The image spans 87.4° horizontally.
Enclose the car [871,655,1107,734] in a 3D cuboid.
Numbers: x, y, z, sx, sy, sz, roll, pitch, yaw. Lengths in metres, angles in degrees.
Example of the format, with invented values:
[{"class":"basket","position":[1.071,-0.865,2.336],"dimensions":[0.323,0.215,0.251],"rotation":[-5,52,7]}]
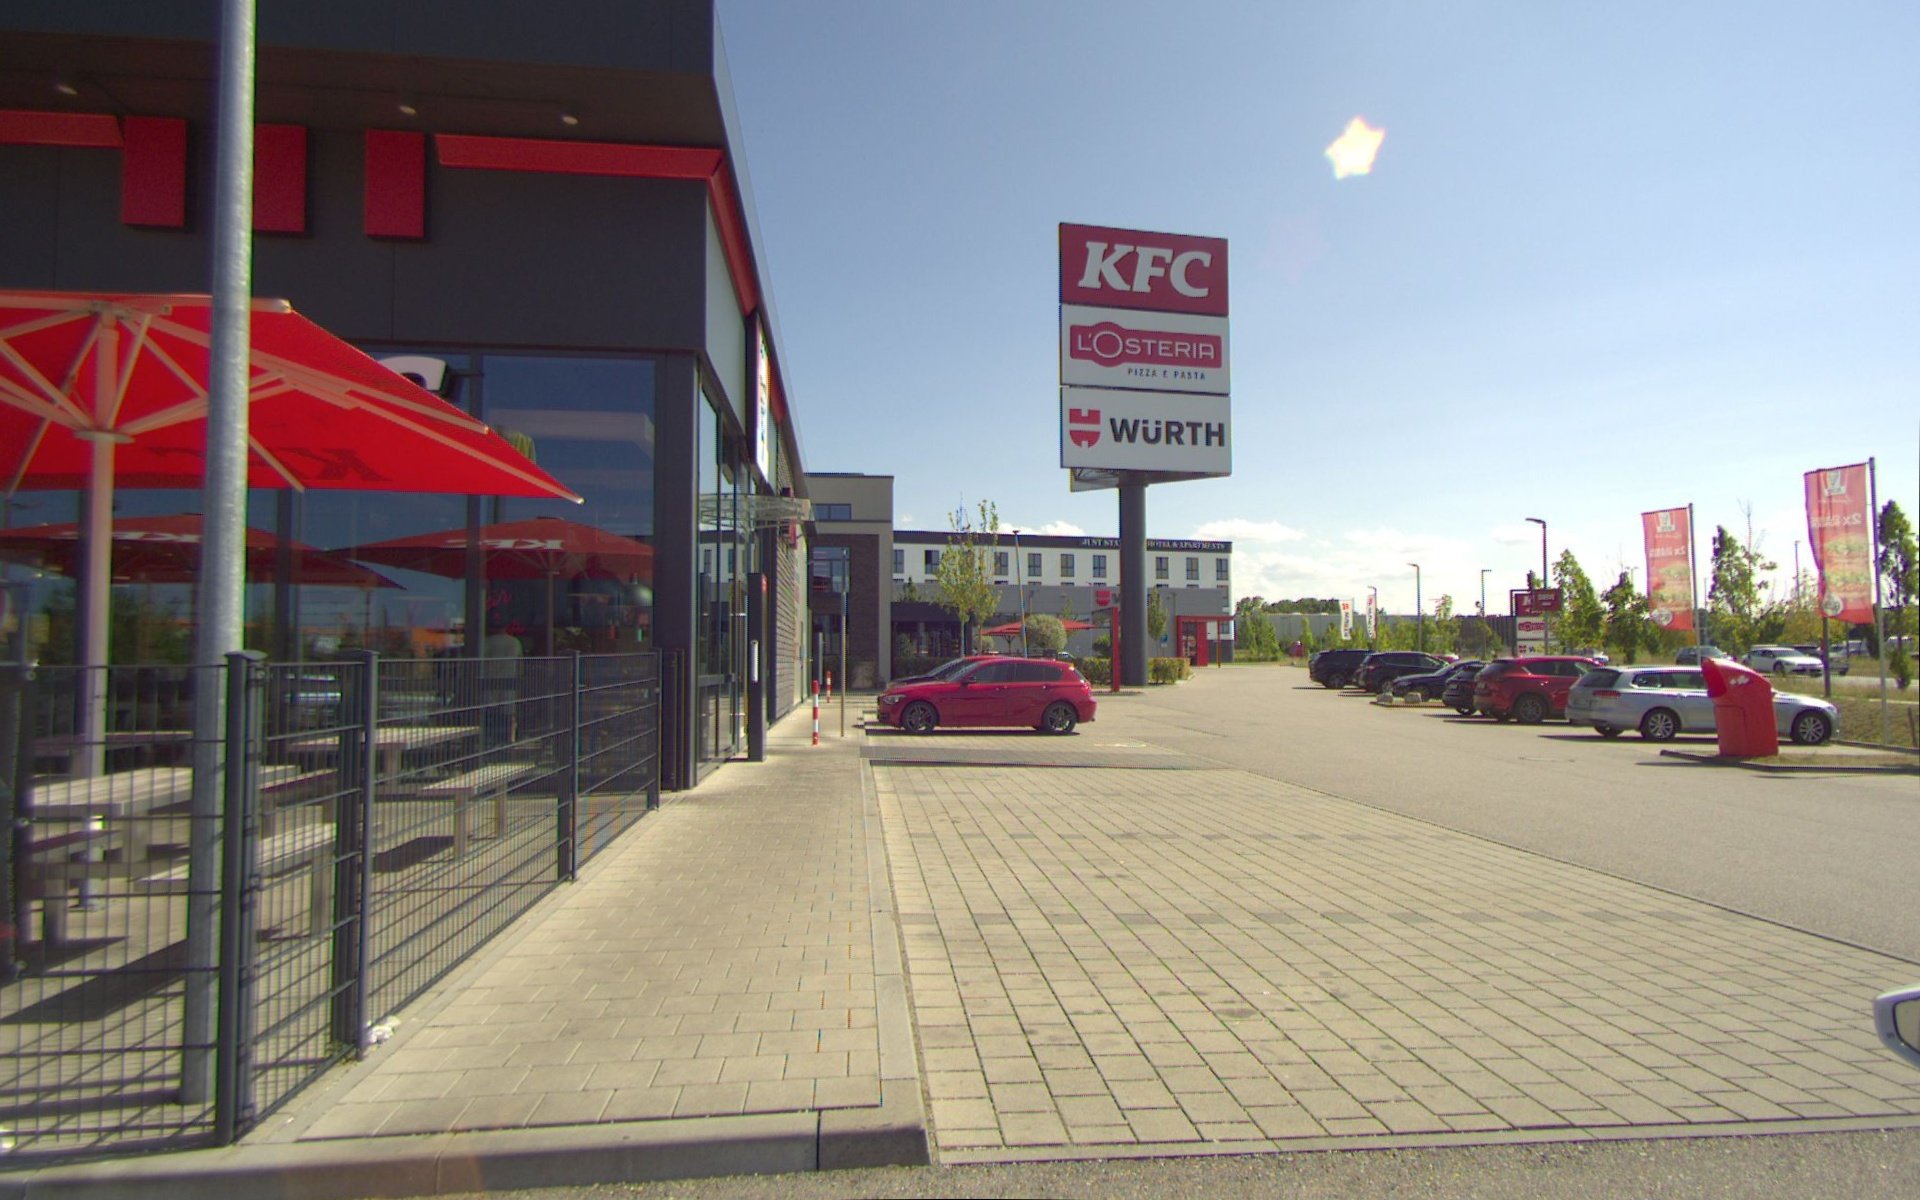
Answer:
[{"class":"car","position":[0.500,1.797,19.405],"dimensions":[4.321,1.431,1.738],"rotation":[1,-3,-9]}]

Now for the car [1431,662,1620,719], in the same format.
[{"class":"car","position":[15.255,2.418,27.271],"dimensions":[4.122,1.428,1.775],"rotation":[0,-3,4]}]

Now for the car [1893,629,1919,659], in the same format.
[{"class":"car","position":[74.356,3.279,75.141],"dimensions":[6.183,2.266,2.819],"rotation":[-1,-2,7]}]

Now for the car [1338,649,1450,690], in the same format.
[{"class":"car","position":[18.295,2.898,42.486],"dimensions":[3.998,1.630,1.897],"rotation":[0,-2,9]}]

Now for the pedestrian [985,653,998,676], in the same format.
[{"class":"pedestrian","position":[1.696,3.522,54.852],"dimensions":[0.696,1.213,0.617],"rotation":[0,-2,2]}]

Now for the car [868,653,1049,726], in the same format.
[{"class":"car","position":[-0.080,1.961,22.291],"dimensions":[3.836,1.526,1.739],"rotation":[1,-3,-7]}]

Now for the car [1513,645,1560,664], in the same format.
[{"class":"car","position":[48.807,4.624,85.105],"dimensions":[1.959,1.546,4.661],"rotation":[-1,-2,10]}]

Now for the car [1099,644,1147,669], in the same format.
[{"class":"car","position":[12.967,4.471,80.310],"dimensions":[2.042,1.905,4.867],"rotation":[0,-2,-14]}]

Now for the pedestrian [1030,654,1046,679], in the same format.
[{"class":"pedestrian","position":[3.763,3.208,48.428],"dimensions":[0.643,1.200,0.478],"rotation":[1,-2,-32]}]

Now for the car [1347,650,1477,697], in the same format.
[{"class":"car","position":[17.665,2.856,39.414],"dimensions":[4.245,1.725,1.897],"rotation":[0,-3,6]}]

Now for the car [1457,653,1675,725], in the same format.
[{"class":"car","position":[14.818,2.149,24.760],"dimensions":[4.145,1.659,1.952],"rotation":[0,-3,6]}]

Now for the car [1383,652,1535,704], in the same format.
[{"class":"car","position":[17.061,2.649,34.578],"dimensions":[4.361,1.659,1.897],"rotation":[0,-3,13]}]

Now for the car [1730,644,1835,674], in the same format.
[{"class":"car","position":[49.919,3.558,61.146],"dimensions":[1.950,1.753,5.223],"rotation":[0,-2,-2]}]

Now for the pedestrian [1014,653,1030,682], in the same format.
[{"class":"pedestrian","position":[2.976,3.255,48.303],"dimensions":[0.643,1.384,0.478],"rotation":[1,-2,-32]}]

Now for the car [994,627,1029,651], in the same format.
[{"class":"car","position":[2.969,2.314,58.428],"dimensions":[1.616,1.325,3.841],"rotation":[0,-3,-3]}]

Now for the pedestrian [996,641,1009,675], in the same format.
[{"class":"pedestrian","position":[1.905,2.584,45.087],"dimensions":[0.516,1.525,0.568],"rotation":[0,-2,-9]}]

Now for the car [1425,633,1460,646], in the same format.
[{"class":"car","position":[60.920,4.990,126.899],"dimensions":[3.598,1.618,1.713],"rotation":[0,-2,-6]}]

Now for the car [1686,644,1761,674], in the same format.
[{"class":"car","position":[45.126,3.477,59.501],"dimensions":[1.841,1.686,4.606],"rotation":[-1,-2,14]}]

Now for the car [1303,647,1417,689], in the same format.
[{"class":"car","position":[18.027,3.046,45.478],"dimensions":[4.497,1.783,1.897],"rotation":[0,-3,11]}]

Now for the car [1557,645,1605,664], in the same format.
[{"class":"car","position":[51.586,4.484,83.562],"dimensions":[1.959,1.523,4.661],"rotation":[-1,-2,12]}]

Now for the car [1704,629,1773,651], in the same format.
[{"class":"car","position":[75.708,3.905,97.727],"dimensions":[4.974,2.040,2.001],"rotation":[0,-2,3]}]

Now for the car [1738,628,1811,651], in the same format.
[{"class":"car","position":[74.697,3.610,92.159],"dimensions":[4.974,2.040,2.001],"rotation":[0,-2,3]}]

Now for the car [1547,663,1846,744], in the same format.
[{"class":"car","position":[14.448,2.009,19.940],"dimensions":[4.508,1.431,1.742],"rotation":[0,-3,6]}]

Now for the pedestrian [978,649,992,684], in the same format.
[{"class":"pedestrian","position":[1.131,2.988,45.230],"dimensions":[0.516,1.525,0.568],"rotation":[0,-2,-9]}]

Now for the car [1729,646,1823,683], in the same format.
[{"class":"car","position":[44.225,3.462,54.555],"dimensions":[1.959,1.870,4.411],"rotation":[-1,-2,9]}]
